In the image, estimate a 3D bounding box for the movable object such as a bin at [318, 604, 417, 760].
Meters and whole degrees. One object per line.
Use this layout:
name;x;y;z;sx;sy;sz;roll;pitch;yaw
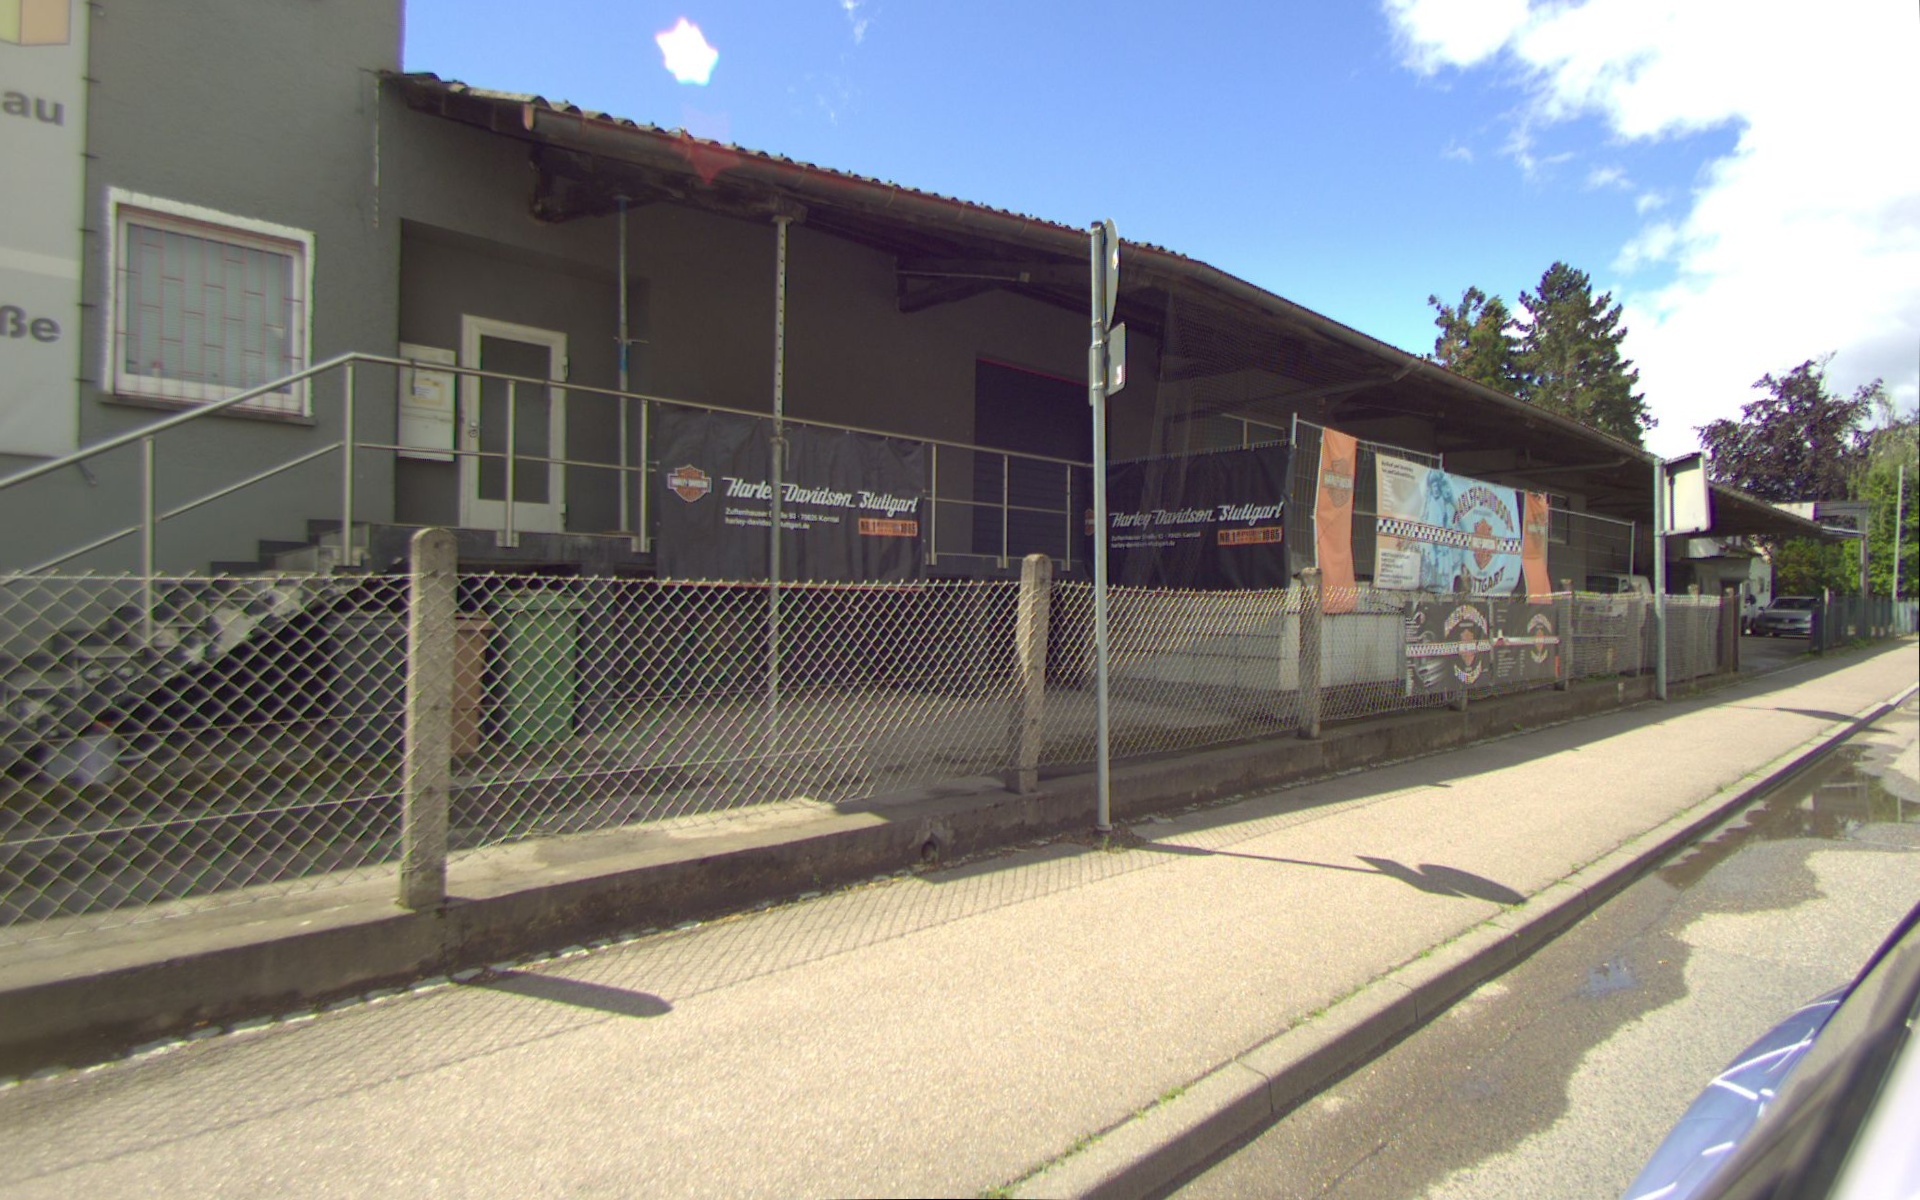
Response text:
movable object such as a bin;-3.818;0.501;6.515;0.466;0.942;0.482;0;0;-42

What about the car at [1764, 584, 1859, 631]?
car;29.869;0.216;35.441;5.114;1.549;1.860;-1;1;-42

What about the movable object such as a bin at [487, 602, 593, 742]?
movable object such as a bin;-3.010;0.489;7.256;0.574;0.942;0.482;0;0;-42

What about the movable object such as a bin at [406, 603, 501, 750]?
movable object such as a bin;-3.435;0.495;6.865;0.466;0.942;0.482;0;0;-42

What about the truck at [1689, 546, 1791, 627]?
truck;29.522;-0.524;38.230;5.112;2.864;2.089;-1;0;-41
